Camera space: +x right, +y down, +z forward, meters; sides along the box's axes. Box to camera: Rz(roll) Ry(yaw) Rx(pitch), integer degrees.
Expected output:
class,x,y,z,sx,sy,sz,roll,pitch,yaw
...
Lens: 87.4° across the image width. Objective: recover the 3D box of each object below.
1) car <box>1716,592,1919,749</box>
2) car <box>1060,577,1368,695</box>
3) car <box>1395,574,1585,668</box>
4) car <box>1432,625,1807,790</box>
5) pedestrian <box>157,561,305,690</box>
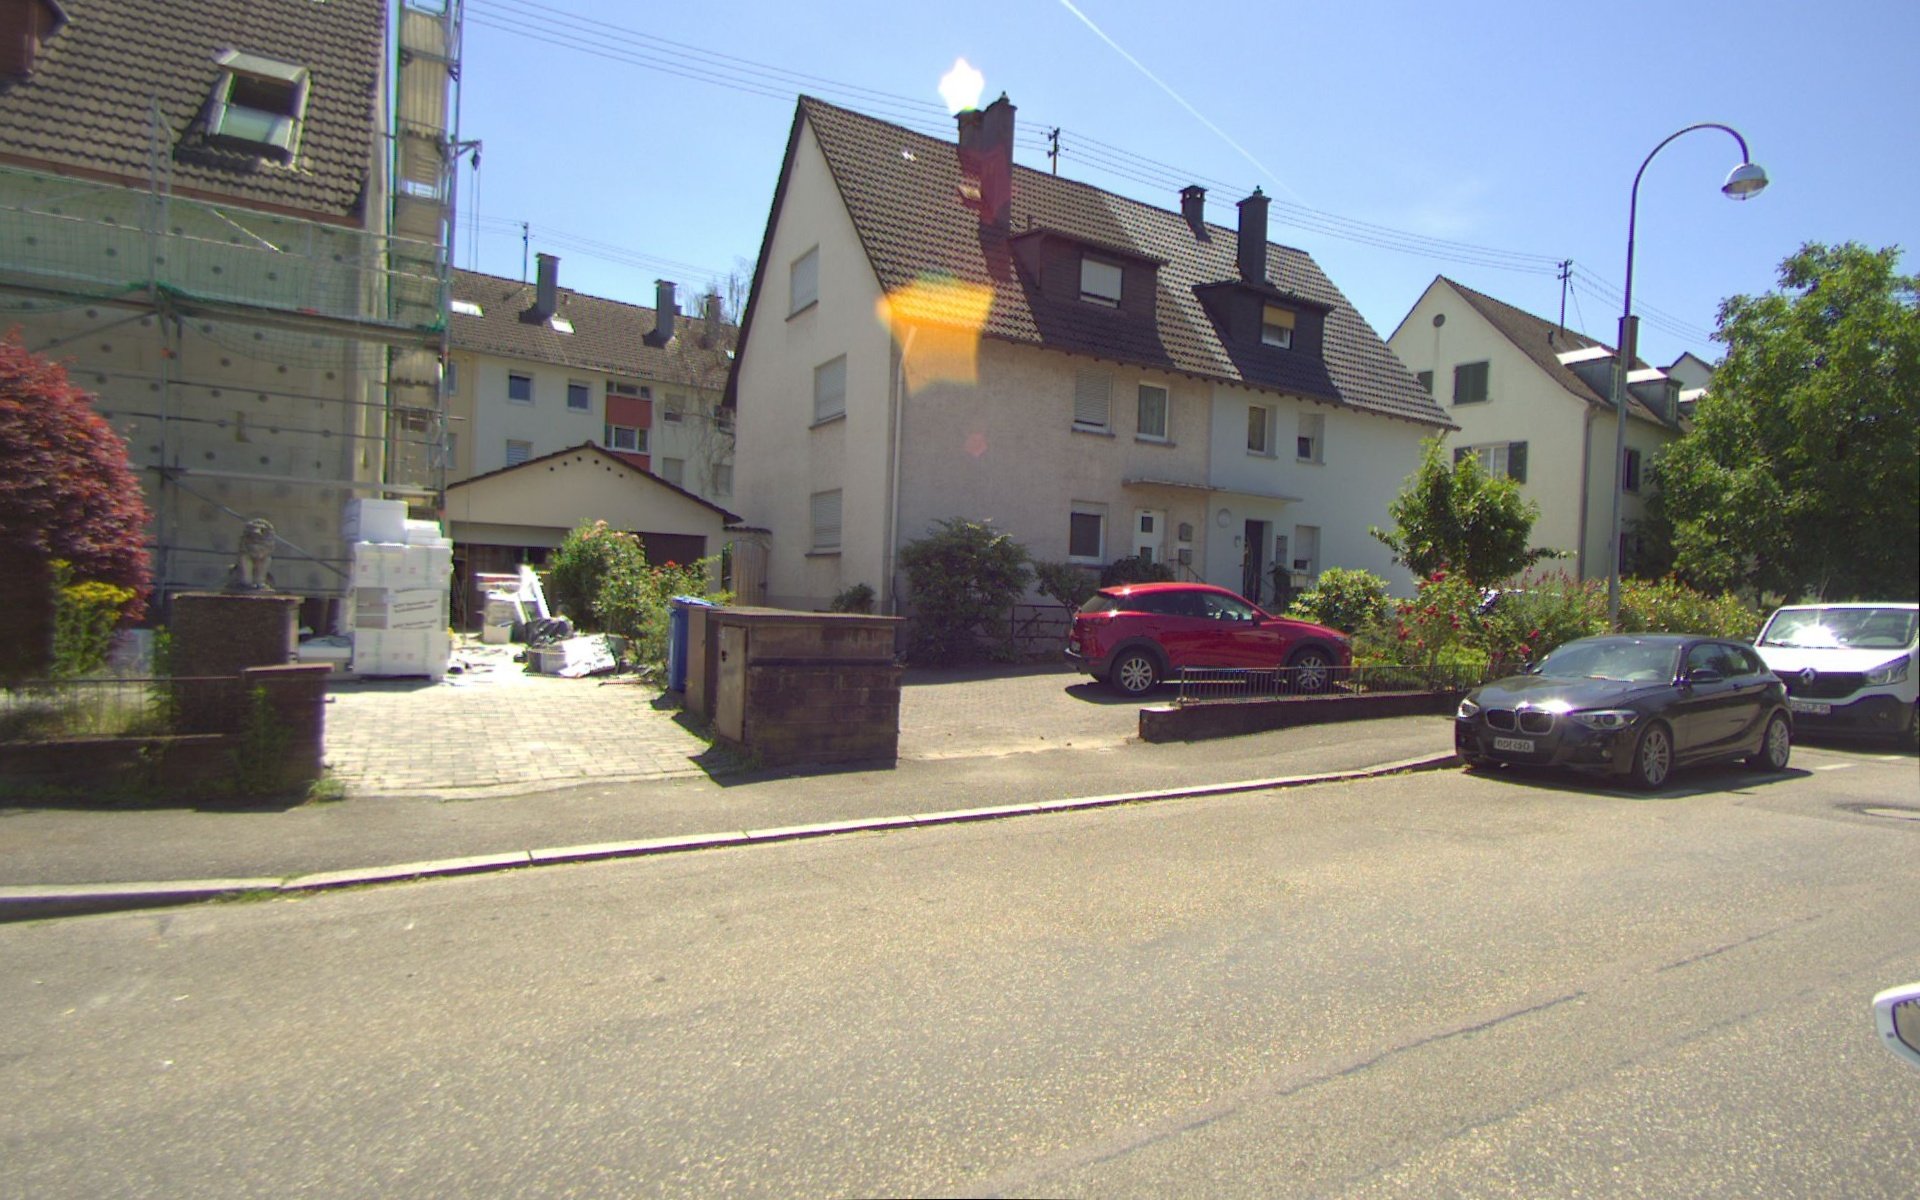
class,x,y,z,sx,sy,sz,roll,pitch,yaw
car,13.023,0.941,14.443,4.928,1.906,1.875,2,0,-33
car,3.615,0.477,14.695,4.035,1.532,1.646,0,4,-6
car,12.101,0.475,22.940,3.946,1.895,1.709,3,2,-25
car,6.953,0.993,10.476,4.188,1.402,1.689,2,-1,-32
pedestrian,-7.918,0.280,10.917,1.202,1.280,0.697,3,3,-41
